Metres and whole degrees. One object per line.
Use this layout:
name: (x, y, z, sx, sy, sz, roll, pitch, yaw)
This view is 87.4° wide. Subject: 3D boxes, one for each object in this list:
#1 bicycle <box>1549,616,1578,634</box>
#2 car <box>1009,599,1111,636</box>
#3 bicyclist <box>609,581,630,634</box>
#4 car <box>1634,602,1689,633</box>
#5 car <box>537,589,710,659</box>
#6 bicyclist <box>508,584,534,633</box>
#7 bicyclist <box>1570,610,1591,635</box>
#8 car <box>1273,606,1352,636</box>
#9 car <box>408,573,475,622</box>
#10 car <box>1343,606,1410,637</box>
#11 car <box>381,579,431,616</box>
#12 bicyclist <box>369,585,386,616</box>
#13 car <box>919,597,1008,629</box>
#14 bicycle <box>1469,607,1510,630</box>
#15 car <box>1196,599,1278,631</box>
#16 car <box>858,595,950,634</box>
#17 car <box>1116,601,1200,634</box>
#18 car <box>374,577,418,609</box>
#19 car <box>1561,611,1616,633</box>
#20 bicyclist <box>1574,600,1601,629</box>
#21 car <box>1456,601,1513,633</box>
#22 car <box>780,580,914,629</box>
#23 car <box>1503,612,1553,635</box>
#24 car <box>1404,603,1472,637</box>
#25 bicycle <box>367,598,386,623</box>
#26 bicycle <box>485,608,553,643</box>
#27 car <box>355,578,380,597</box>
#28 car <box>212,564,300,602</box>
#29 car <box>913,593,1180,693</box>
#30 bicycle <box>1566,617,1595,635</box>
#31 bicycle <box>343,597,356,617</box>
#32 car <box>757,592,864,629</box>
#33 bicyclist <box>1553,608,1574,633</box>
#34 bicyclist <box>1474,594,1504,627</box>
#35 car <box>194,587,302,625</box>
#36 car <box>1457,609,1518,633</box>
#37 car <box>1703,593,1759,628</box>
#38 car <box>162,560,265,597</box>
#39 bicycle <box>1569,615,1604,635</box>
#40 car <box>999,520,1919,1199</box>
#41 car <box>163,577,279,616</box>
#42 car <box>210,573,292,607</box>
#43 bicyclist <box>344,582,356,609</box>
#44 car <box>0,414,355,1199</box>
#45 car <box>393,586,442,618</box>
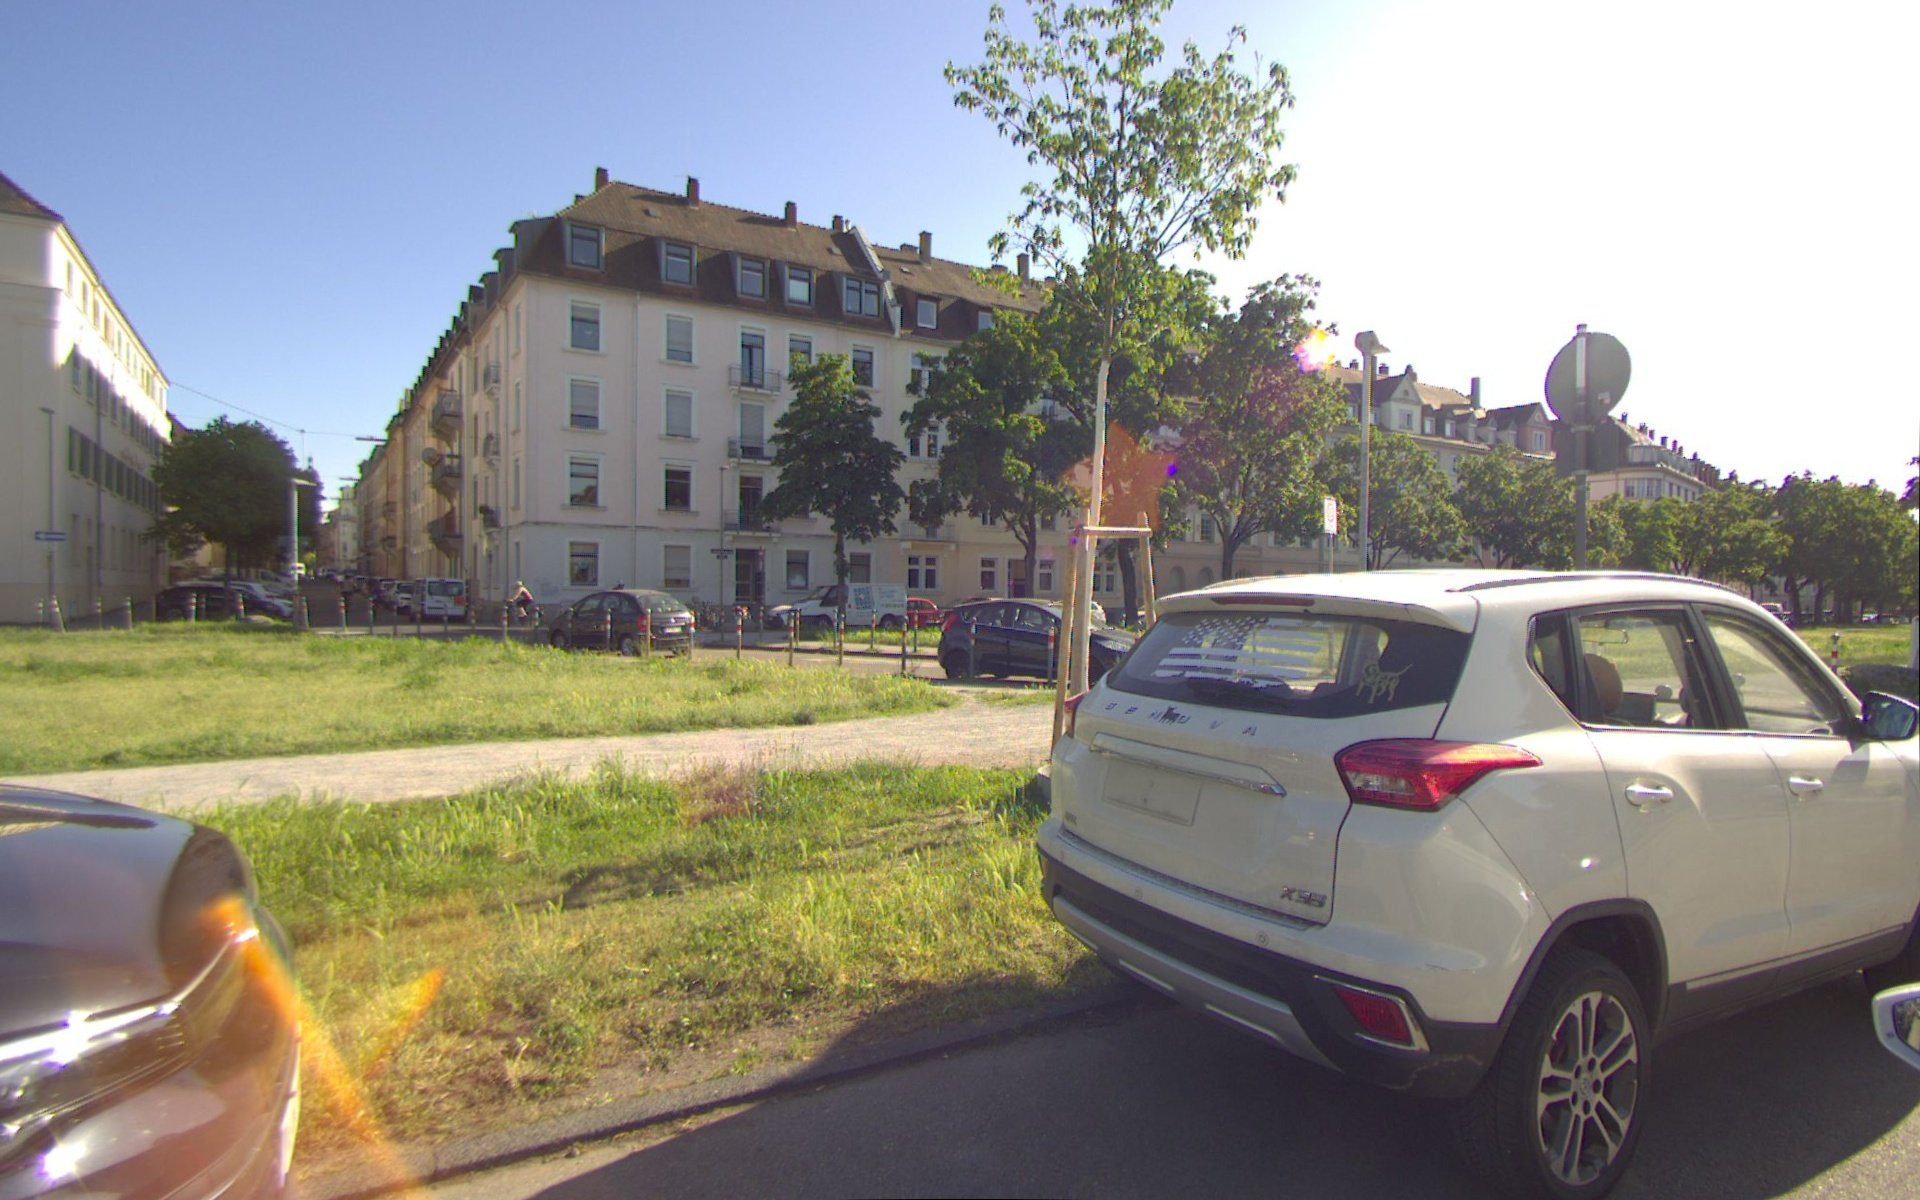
bicycle: (37.042, 1.539, 61.653, 1.934, 1.093, 0.728, 0, 1, -33)
car: (4.612, 0.791, 45.938, 4.648, 1.582, 1.684, 1, 1, -34)
bicyclist: (-11.124, 0.250, 32.812, 0.622, 1.713, 0.875, 0, 0, -21)
car: (52.968, 1.301, 75.827, 4.955, 2.243, 1.684, 1, 1, -34)
car: (-8.369, 0.531, 24.865, 4.277, 1.597, 1.922, 1, 0, 36)
bicyclist: (-16.381, 0.313, 37.472, 0.792, 1.827, 0.669, 1, 1, -31)
bicyclist: (37.541, 1.359, 60.769, 0.932, 1.456, 0.734, 2, -1, -31)
car: (19.362, 1.139, 55.153, 4.480, 1.570, 1.746, 1, 1, -34)
car: (-22.619, -0.134, 43.722, 2.118, 2.041, 4.534, 1, 1, -34)
car: (24.054, 1.209, 58.001, 4.038, 1.709, 1.622, 1, 1, -34)
car: (-31.585, -0.188, 57.188, 1.980, 2.000, 5.002, 1, 1, -35)
bicyclist: (-25.607, 0.018, 44.169, 0.617, 1.382, 0.870, 0, 1, -32)
car: (0.161, 0.552, 43.161, 3.489, 1.296, 1.684, 1, 1, -34)
bicycle: (30.691, 1.101, 58.230, 2.603, 1.269, 0.806, 2, 1, -30)
car: (14.290, 0.762, 51.731, 4.309, 1.570, 1.622, 1, 1, -34)
car: (-2.686, 0.701, 48.277, 4.007, 1.775, 1.984, 1, 1, -30)
car: (9.693, 0.859, 49.125, 4.038, 1.547, 1.684, 1, 1, -34)
car: (-36.395, -0.473, 64.799, 2.131, 2.010, 4.864, 1, 1, -33)
car: (44.216, 1.529, 70.661, 3.731, 1.459, 1.837, 1, 1, -31)
bicyclist: (40.246, 0.919, 64.396, 1.433, 1.862, 0.936, 2, -1, -32)
car: (38.368, 1.231, 73.469, 4.415, 2.289, 1.766, 1, 1, -33)
car: (-4.540, 0.181, 40.679, 5.044, 1.897, 2.069, 1, 1, -34)
car: (37.518, 1.547, 66.341, 3.302, 1.459, 1.374, 1, 1, -30)
car: (29.127, 1.210, 61.166, 4.414, 1.933, 1.726, 1, 1, -34)
bicycle: (-25.718, 0.460, 44.261, 0.651, 1.030, 1.964, 0, 1, -32)
bicycle: (-16.449, 0.944, 37.470, 2.232, 1.279, 0.837, 1, 1, -32)
car: (-53.867, -1.148, 91.344, 1.934, 1.731, 4.129, 1, 1, -31)
car: (-48.486, -1.150, 69.310, 4.906, 2.553, 1.937, 1, 1, -35)
car: (1.446, 0.649, 17.466, 4.276, 1.428, 1.914, 1, 3, 36)
bicycle: (37.533, 1.569, 60.757, 1.934, 1.093, 0.728, 0, 1, -33)
bicycle: (-32.587, 0.346, 53.639, 0.524, 1.030, 1.473, 0, 1, -34)
car: (-6.746, 0.475, 45.513, 4.407, 1.608, 1.980, 1, 1, -35)
bicyclist: (37.081, 1.267, 61.707, 0.932, 1.457, 0.734, 0, 3, -31)
bicyclist: (30.645, 0.624, 58.160, 1.434, 1.862, 0.936, 2, -1, -32)
car: (-30.212, 0.245, 42.754, 3.627, 1.541, 1.698, 1, 1, -32)
car: (33.577, 1.352, 63.906, 3.729, 1.448, 1.686, 1, 1, -30)
car: (63.336, 0.874, 82.492, 5.565, 2.781, 1.904, 1, 1, -34)
car: (-32.899, -0.937, 44.392, 3.579, 1.541, 1.692, 1, 1, -35)
bicycle: (40.176, 1.590, 64.401, 2.606, 1.269, 0.805, 1, 1, -33)
car: (2.398, 0.704, 3.934, 4.236, 1.669, 1.748, 1, -1, -30)
car: (-33.984, -0.165, 46.353, 4.197, 1.724, 1.691, 1, 1, -34)
car: (-39.761, -0.553, 56.407, 3.675, 1.859, 1.937, 1, 1, -35)
bicyclist: (-32.572, -0.242, 53.617, 0.528, 1.382, 0.778, 0, 1, -34)
car: (-3.209, 0.626, 0.763, 4.660, 1.660, 1.834, 1, -1, -31)
car: (-28.425, 0.069, 52.591, 1.918, 1.590, 3.845, 1, 1, -34)
